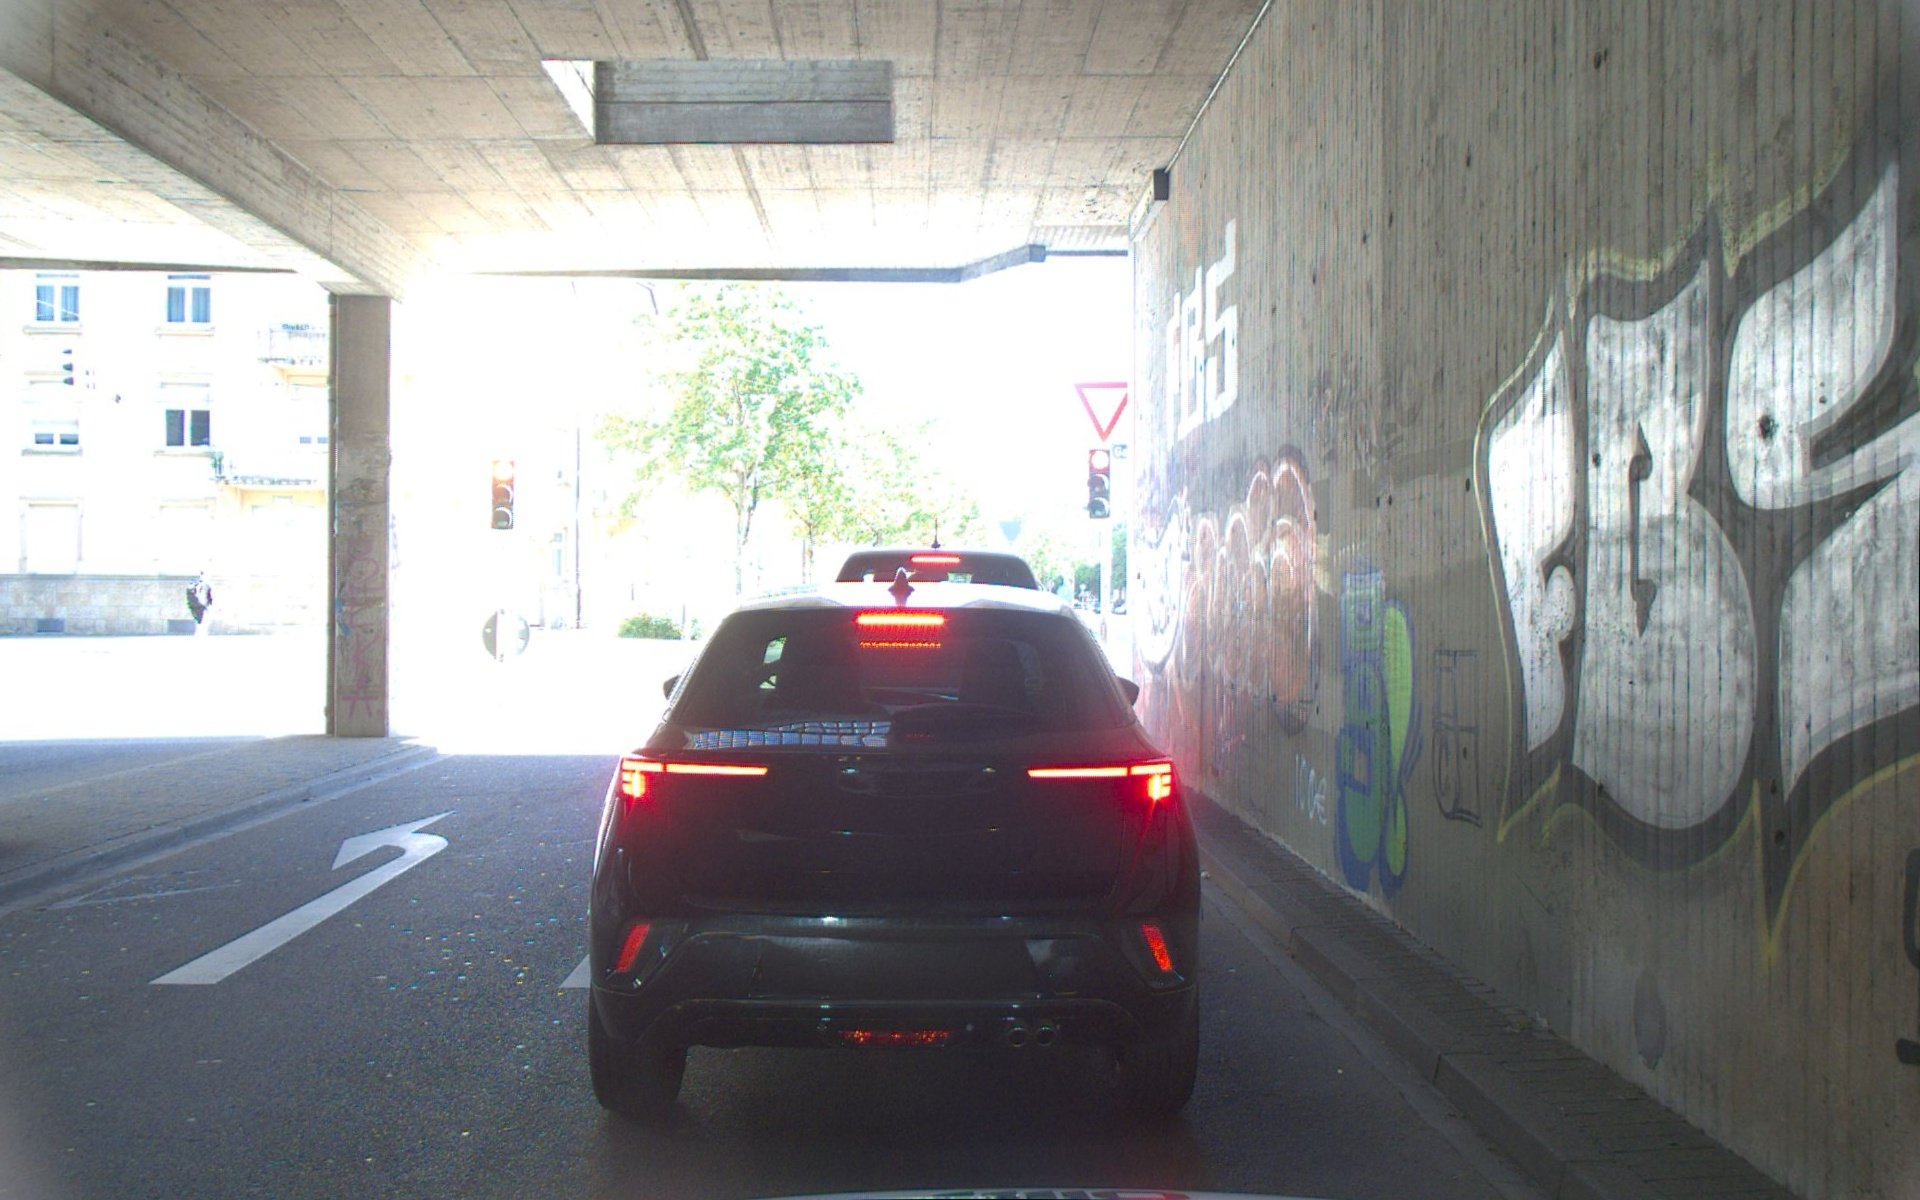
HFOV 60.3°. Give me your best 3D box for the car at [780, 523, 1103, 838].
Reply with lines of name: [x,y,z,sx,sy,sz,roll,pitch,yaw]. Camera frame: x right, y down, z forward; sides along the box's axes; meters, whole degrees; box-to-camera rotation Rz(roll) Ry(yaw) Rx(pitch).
car: [-0.139,0.476,12.052,1.953,1.904,3.999,0,0,-1]

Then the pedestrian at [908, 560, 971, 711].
pedestrian: [-0.246,0.419,19.825,0.716,1.764,0.874,1,-1,-1]

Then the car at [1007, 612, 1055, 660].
car: [3.125,1.534,72.220,1.951,2.004,4.166,1,0,4]

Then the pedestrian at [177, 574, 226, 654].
pedestrian: [-15.973,0.289,34.847,0.658,1.666,0.740,1,-1,-1]

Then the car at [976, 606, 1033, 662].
car: [1.723,1.258,62.552,1.951,2.004,4.166,1,0,4]

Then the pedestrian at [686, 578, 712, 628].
pedestrian: [-11.102,0.138,70.468,0.873,2.124,0.808,1,-1,7]

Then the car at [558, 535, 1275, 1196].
car: [-0.133,0.610,6.047,1.729,1.598,4.000,1,1,-1]
